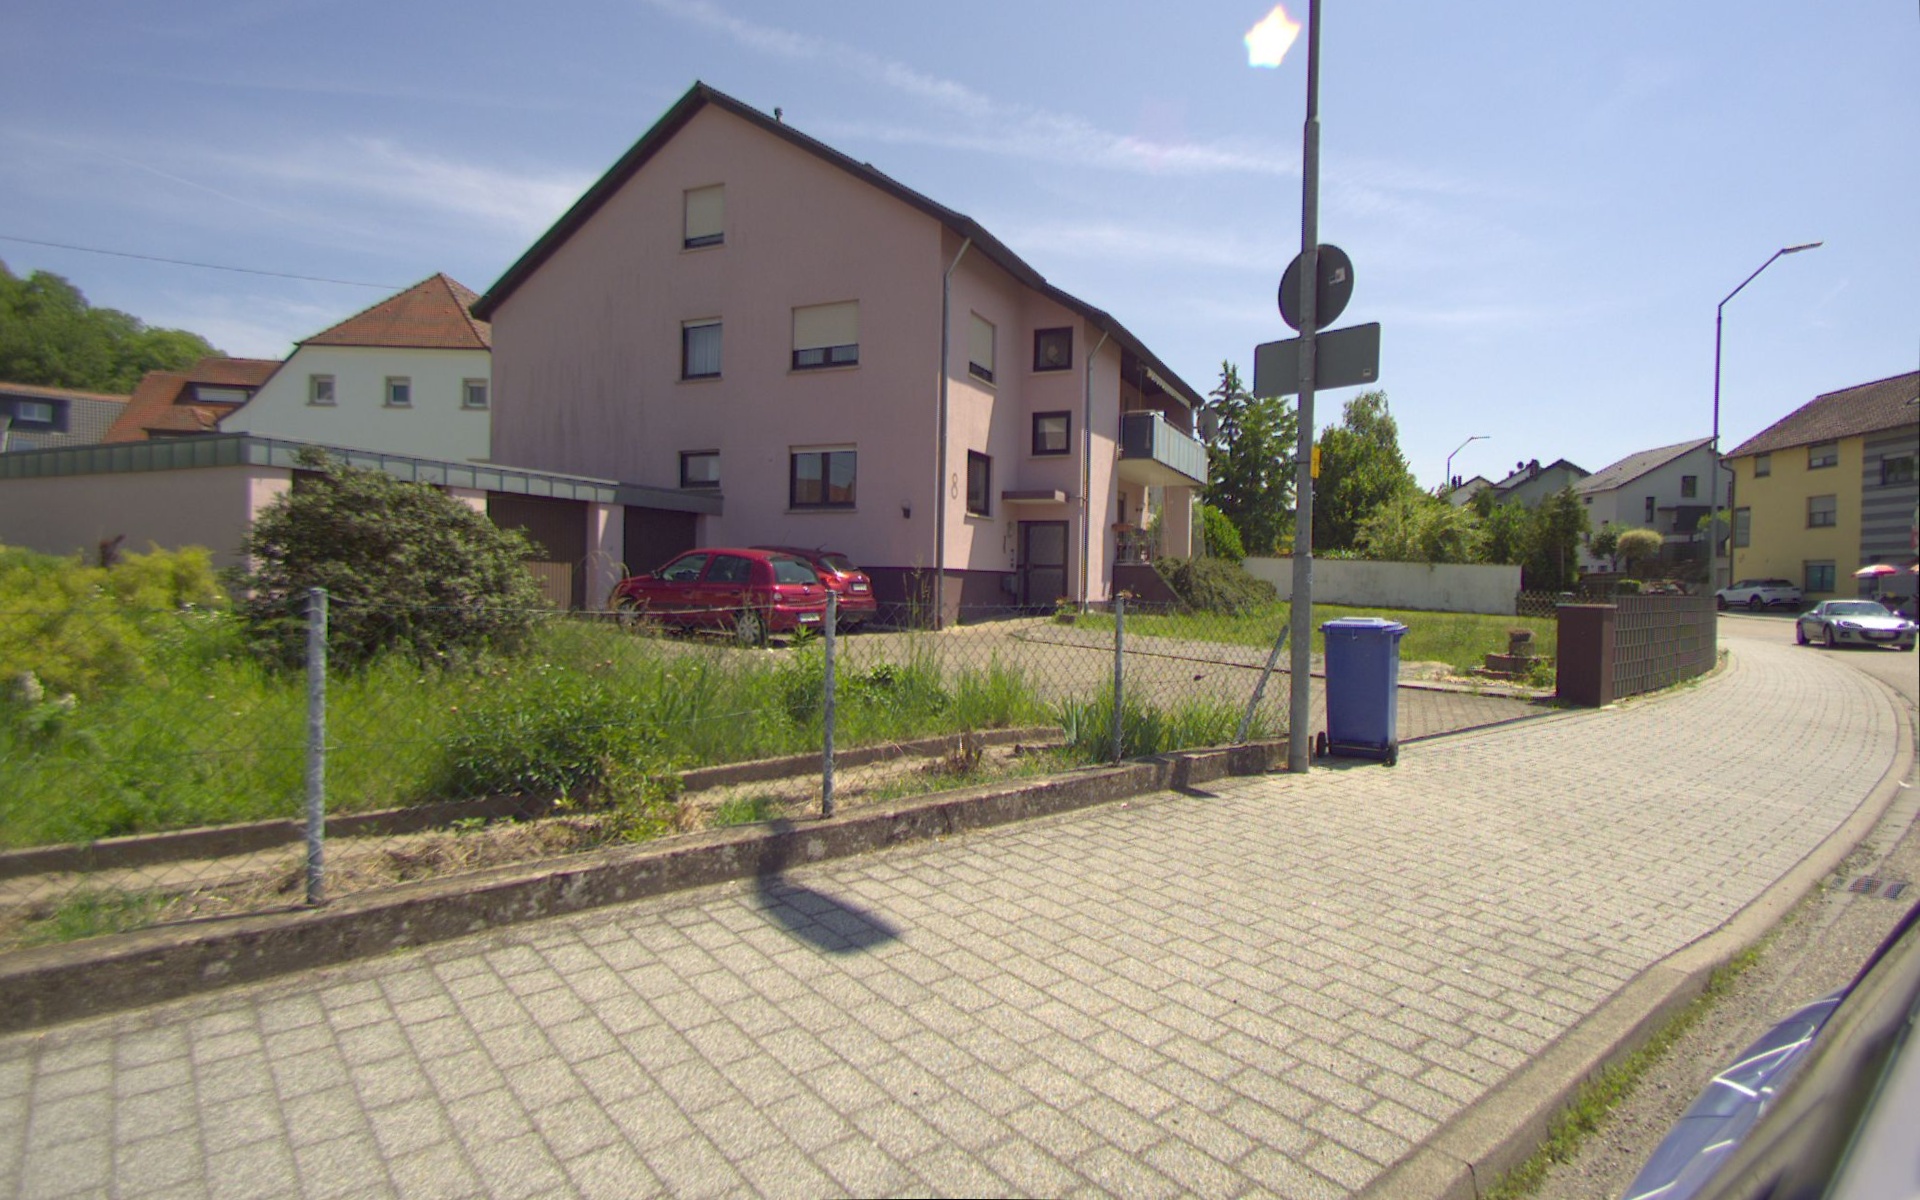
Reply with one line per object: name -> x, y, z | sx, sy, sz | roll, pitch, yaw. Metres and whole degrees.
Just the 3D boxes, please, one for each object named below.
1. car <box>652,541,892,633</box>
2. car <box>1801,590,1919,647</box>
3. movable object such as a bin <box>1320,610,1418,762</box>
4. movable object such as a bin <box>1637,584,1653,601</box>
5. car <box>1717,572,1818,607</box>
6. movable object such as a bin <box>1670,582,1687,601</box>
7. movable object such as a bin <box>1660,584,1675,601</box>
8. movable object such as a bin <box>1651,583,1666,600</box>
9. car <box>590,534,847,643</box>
car -> -3.497, -0.260, 18.837 | 4.078, 1.567, 1.837 | 1, 1, 23
car -> 23.690, 0.419, 26.433 | 1.798, 1.330, 3.962 | 1, 1, 27
movable object such as a bin -> 3.149, 0.627, 7.775 | 0.563, 1.070, 0.643 | 2, 2, 34
movable object such as a bin -> 38.444, -0.441, 56.816 | 0.493, 0.960, 0.553 | 0, 1, 5
car -> 37.979, -0.531, 47.742 | 1.705, 1.571, 4.183 | 0, 2, 6
movable object such as a bin -> 40.171, -0.489, 56.581 | 0.464, 1.068, 0.633 | 0, 1, 4
movable object such as a bin -> 39.639, -0.415, 56.704 | 0.440, 0.950, 0.530 | 0, 1, 5
movable object such as a bin -> 39.133, -0.451, 56.721 | 0.440, 0.940, 0.561 | 0, 1, 5
car -> -3.894, -0.235, 16.256 | 3.801, 1.504, 1.745 | 3, 2, 27
